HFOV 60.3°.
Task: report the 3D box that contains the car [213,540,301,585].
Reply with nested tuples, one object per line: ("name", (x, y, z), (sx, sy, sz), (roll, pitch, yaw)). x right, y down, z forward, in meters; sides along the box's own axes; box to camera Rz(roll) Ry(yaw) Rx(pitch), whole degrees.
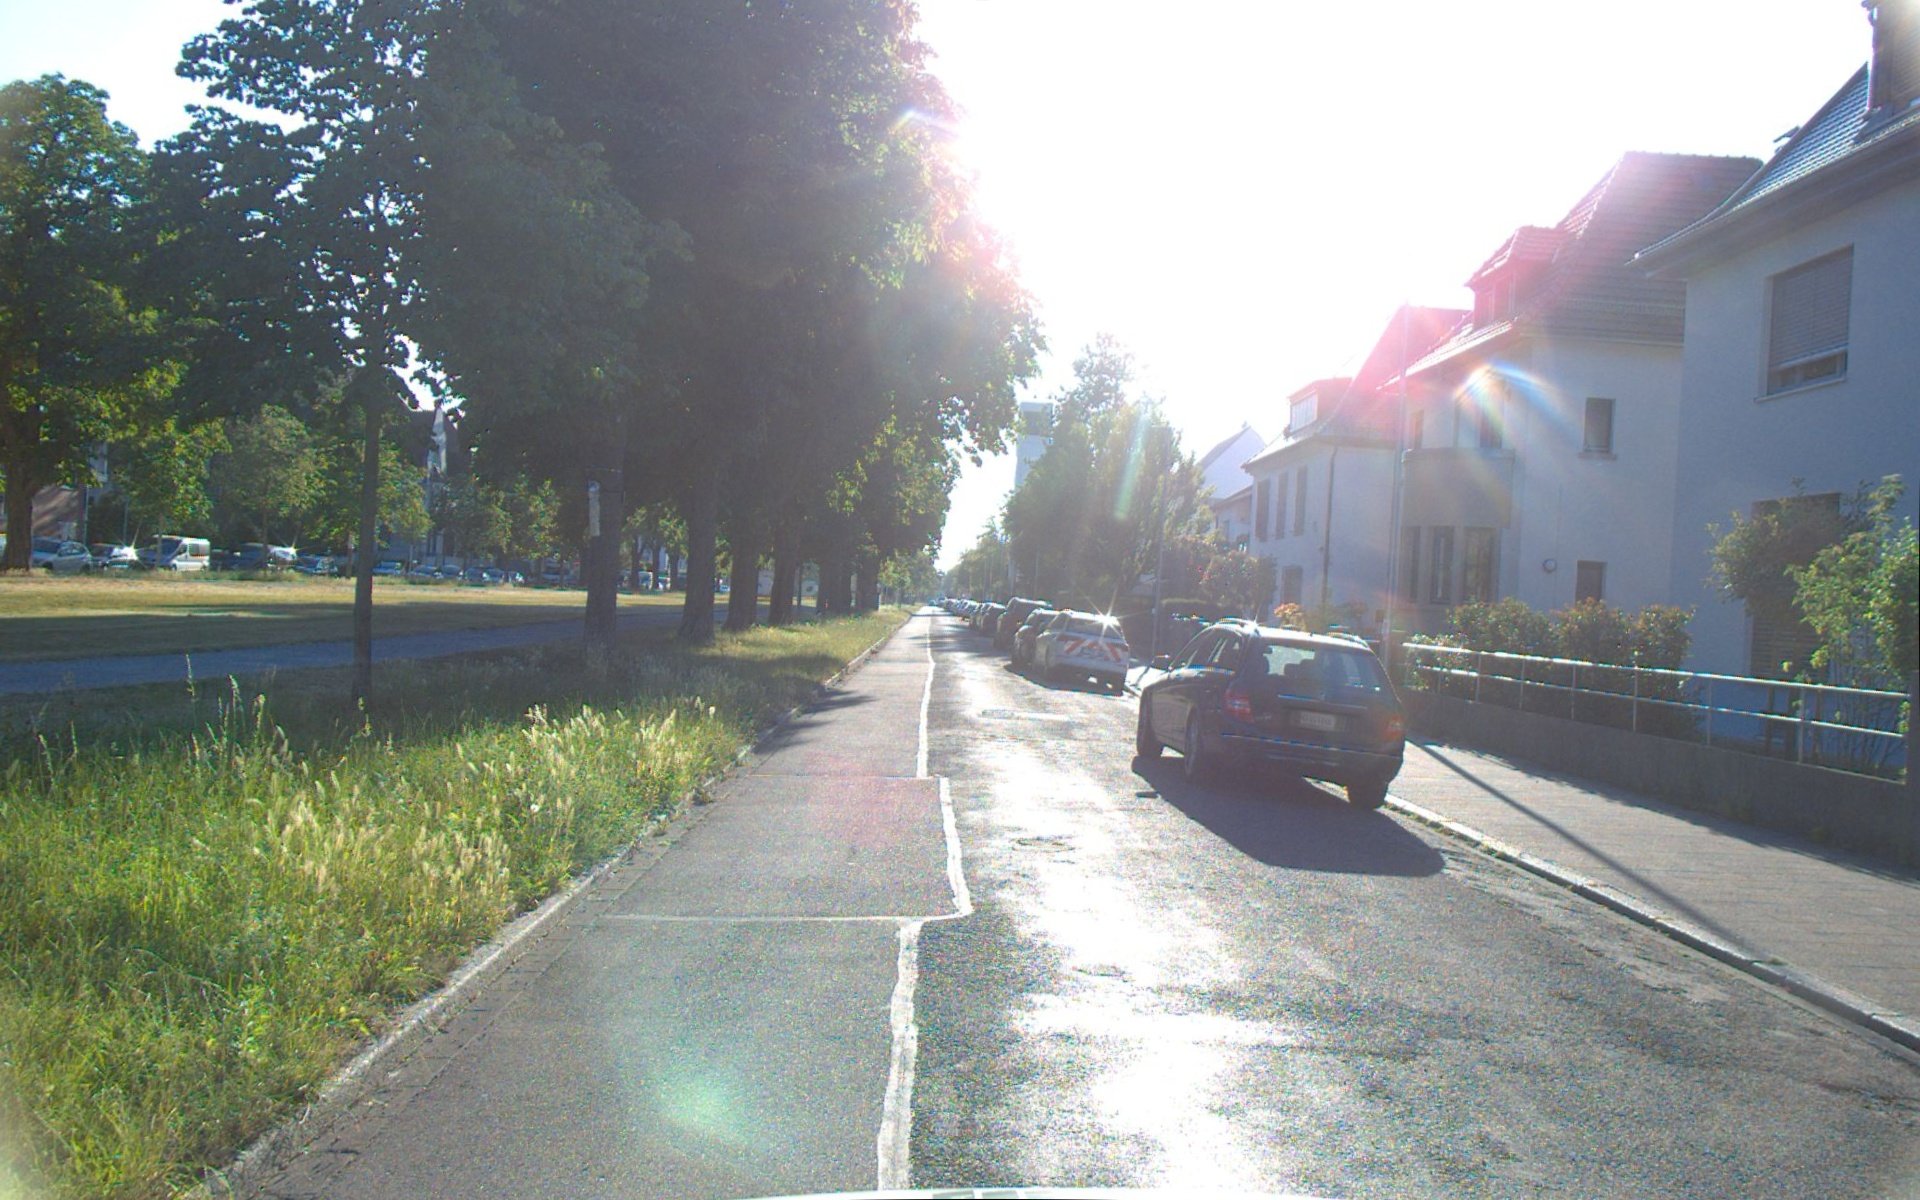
("car", (-34.452, -1.807, 81.254), (1.953, 1.974, 5.245), (4, 0, 0))

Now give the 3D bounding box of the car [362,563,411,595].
("car", (-40.698, -1.456, 117.496), (1.990, 2.049, 3.999), (2, -1, 0))

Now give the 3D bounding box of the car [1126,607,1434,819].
("car", (2.832, 0.931, 15.662), (1.745, 1.525, 4.395), (7, -1, -3))

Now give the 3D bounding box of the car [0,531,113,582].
("car", (-33.968, -1.585, 62.209), (1.783, 1.668, 4.649), (4, 0, -1))

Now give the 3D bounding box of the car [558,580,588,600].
("car", (-36.083, -0.927, 154.224), (1.650, 1.587, 4.313), (4, -1, 0))

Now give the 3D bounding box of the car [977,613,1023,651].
("car", (1.777, 1.439, 75.449), (1.757, 1.518, 4.672), (5, -1, -2))

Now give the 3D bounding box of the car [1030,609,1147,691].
("car", (2.715, 1.032, 35.899), (1.954, 1.489, 4.548), (4, 0, -2))

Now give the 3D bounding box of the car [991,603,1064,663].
("car", (2.237, 1.082, 55.726), (1.954, 1.767, 4.861), (4, -1, -2))

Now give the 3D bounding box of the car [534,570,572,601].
("car", (-41.856, -1.495, 170.158), (2.388, 2.973, 5.816), (2, -1, -1))

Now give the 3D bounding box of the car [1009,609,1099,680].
("car", (2.294, 1.078, 41.597), (1.745, 1.488, 4.592), (7, -1, -1))

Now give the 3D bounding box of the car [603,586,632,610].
("car", (-36.305, -0.202, 175.517), (1.953, 2.289, 5.185), (4, -1, -1))

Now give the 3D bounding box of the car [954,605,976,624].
("car", (0.461, 1.306, 151.304), (1.723, 1.633, 4.357), (4, -1, -2))

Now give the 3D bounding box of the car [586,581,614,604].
("car", (-35.809, -0.736, 164.652), (1.651, 2.213, 4.314), (4, 0, 0))

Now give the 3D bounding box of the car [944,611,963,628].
("car", (-0.721, 2.018, 172.114), (1.723, 1.633, 4.357), (4, -1, -2))

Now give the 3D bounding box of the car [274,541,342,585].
("car", (-34.802, -1.963, 88.390), (1.953, 2.048, 3.999), (5, -1, -1))

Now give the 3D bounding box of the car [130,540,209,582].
("car", (-39.986, -1.954, 83.741), (1.780, 1.869, 4.407), (4, -1, 0))

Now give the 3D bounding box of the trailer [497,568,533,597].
("trailer", (-41.376, -1.619, 153.831), (1.953, 2.470, 4.723), (4, -1, -1))

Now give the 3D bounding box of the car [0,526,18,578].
("car", (-39.186, -1.977, 64.979), (1.721, 2.048, 4.368), (4, 0, -1))

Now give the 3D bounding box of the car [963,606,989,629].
("car", (1.199, 1.382, 128.211), (1.723, 1.443, 4.071), (10, -1, 0))

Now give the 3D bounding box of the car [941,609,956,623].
("car", (-1.512, 2.092, 218.953), (1.953, 1.658, 4.000), (4, -1, 0))
